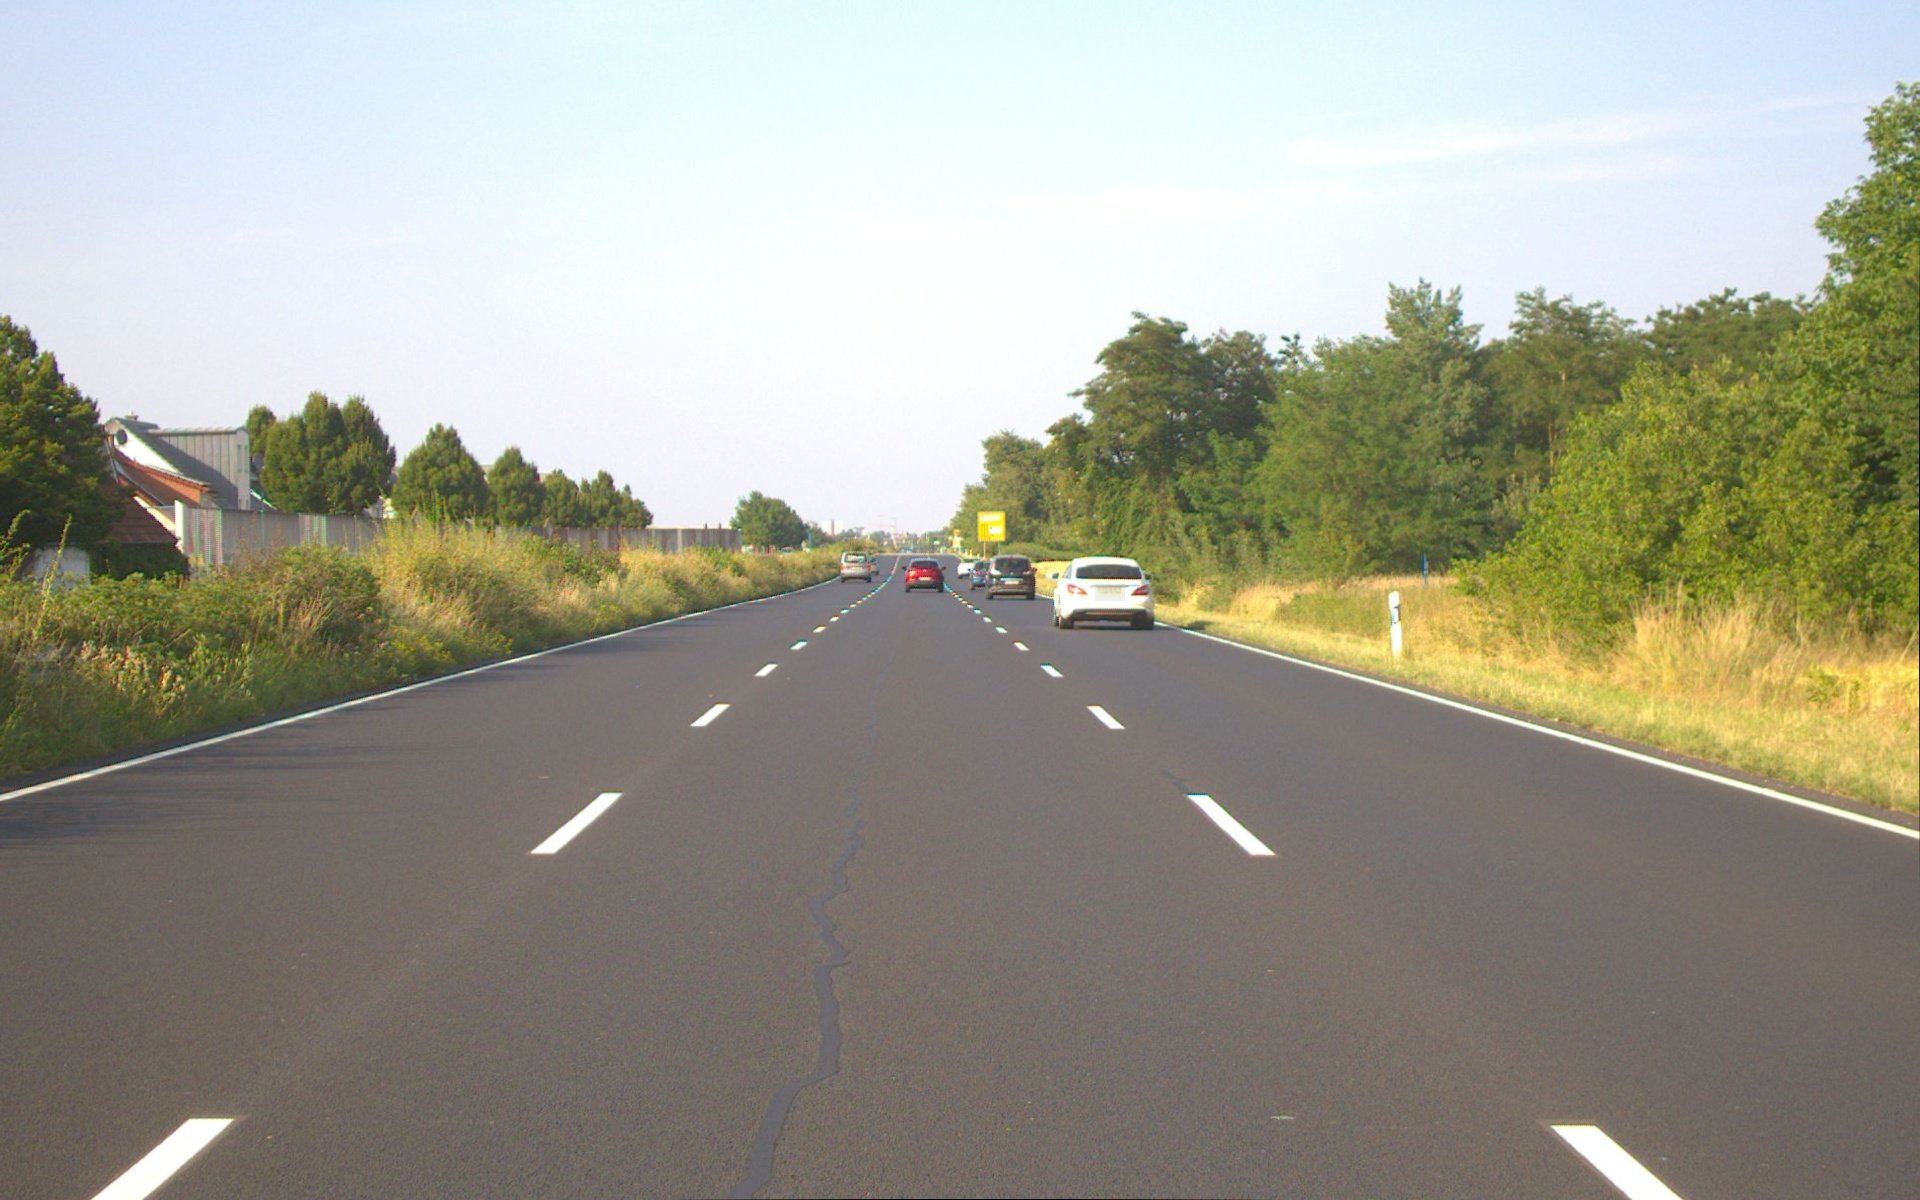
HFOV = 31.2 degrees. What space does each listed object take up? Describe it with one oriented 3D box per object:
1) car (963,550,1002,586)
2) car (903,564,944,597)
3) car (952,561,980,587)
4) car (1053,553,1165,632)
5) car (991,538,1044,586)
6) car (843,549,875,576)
[{"bbox_3d":[1.107,-1.557,168.524,1.834,1.711,3.862,1,0,0],"label":"car"},{"bbox_3d":[-1.677,-0.886,156.232,1.812,1.431,3.859,1,0,-2],"label":"car"},{"bbox_3d":[0.387,-1.750,235.491,1.847,1.744,4.000,1,0,0],"label":"car"},{"bbox_3d":[2.960,-0.160,68.852,1.993,1.511,4.000,1,0,-1],"label":"car"},{"bbox_3d":[2.117,-1.399,127.772,1.828,1.722,4.000,1,0,-1],"label":"car"},{"bbox_3d":[-6.202,-2.285,210.903,1.758,1.612,4.000,1,0,1],"label":"car"}]
